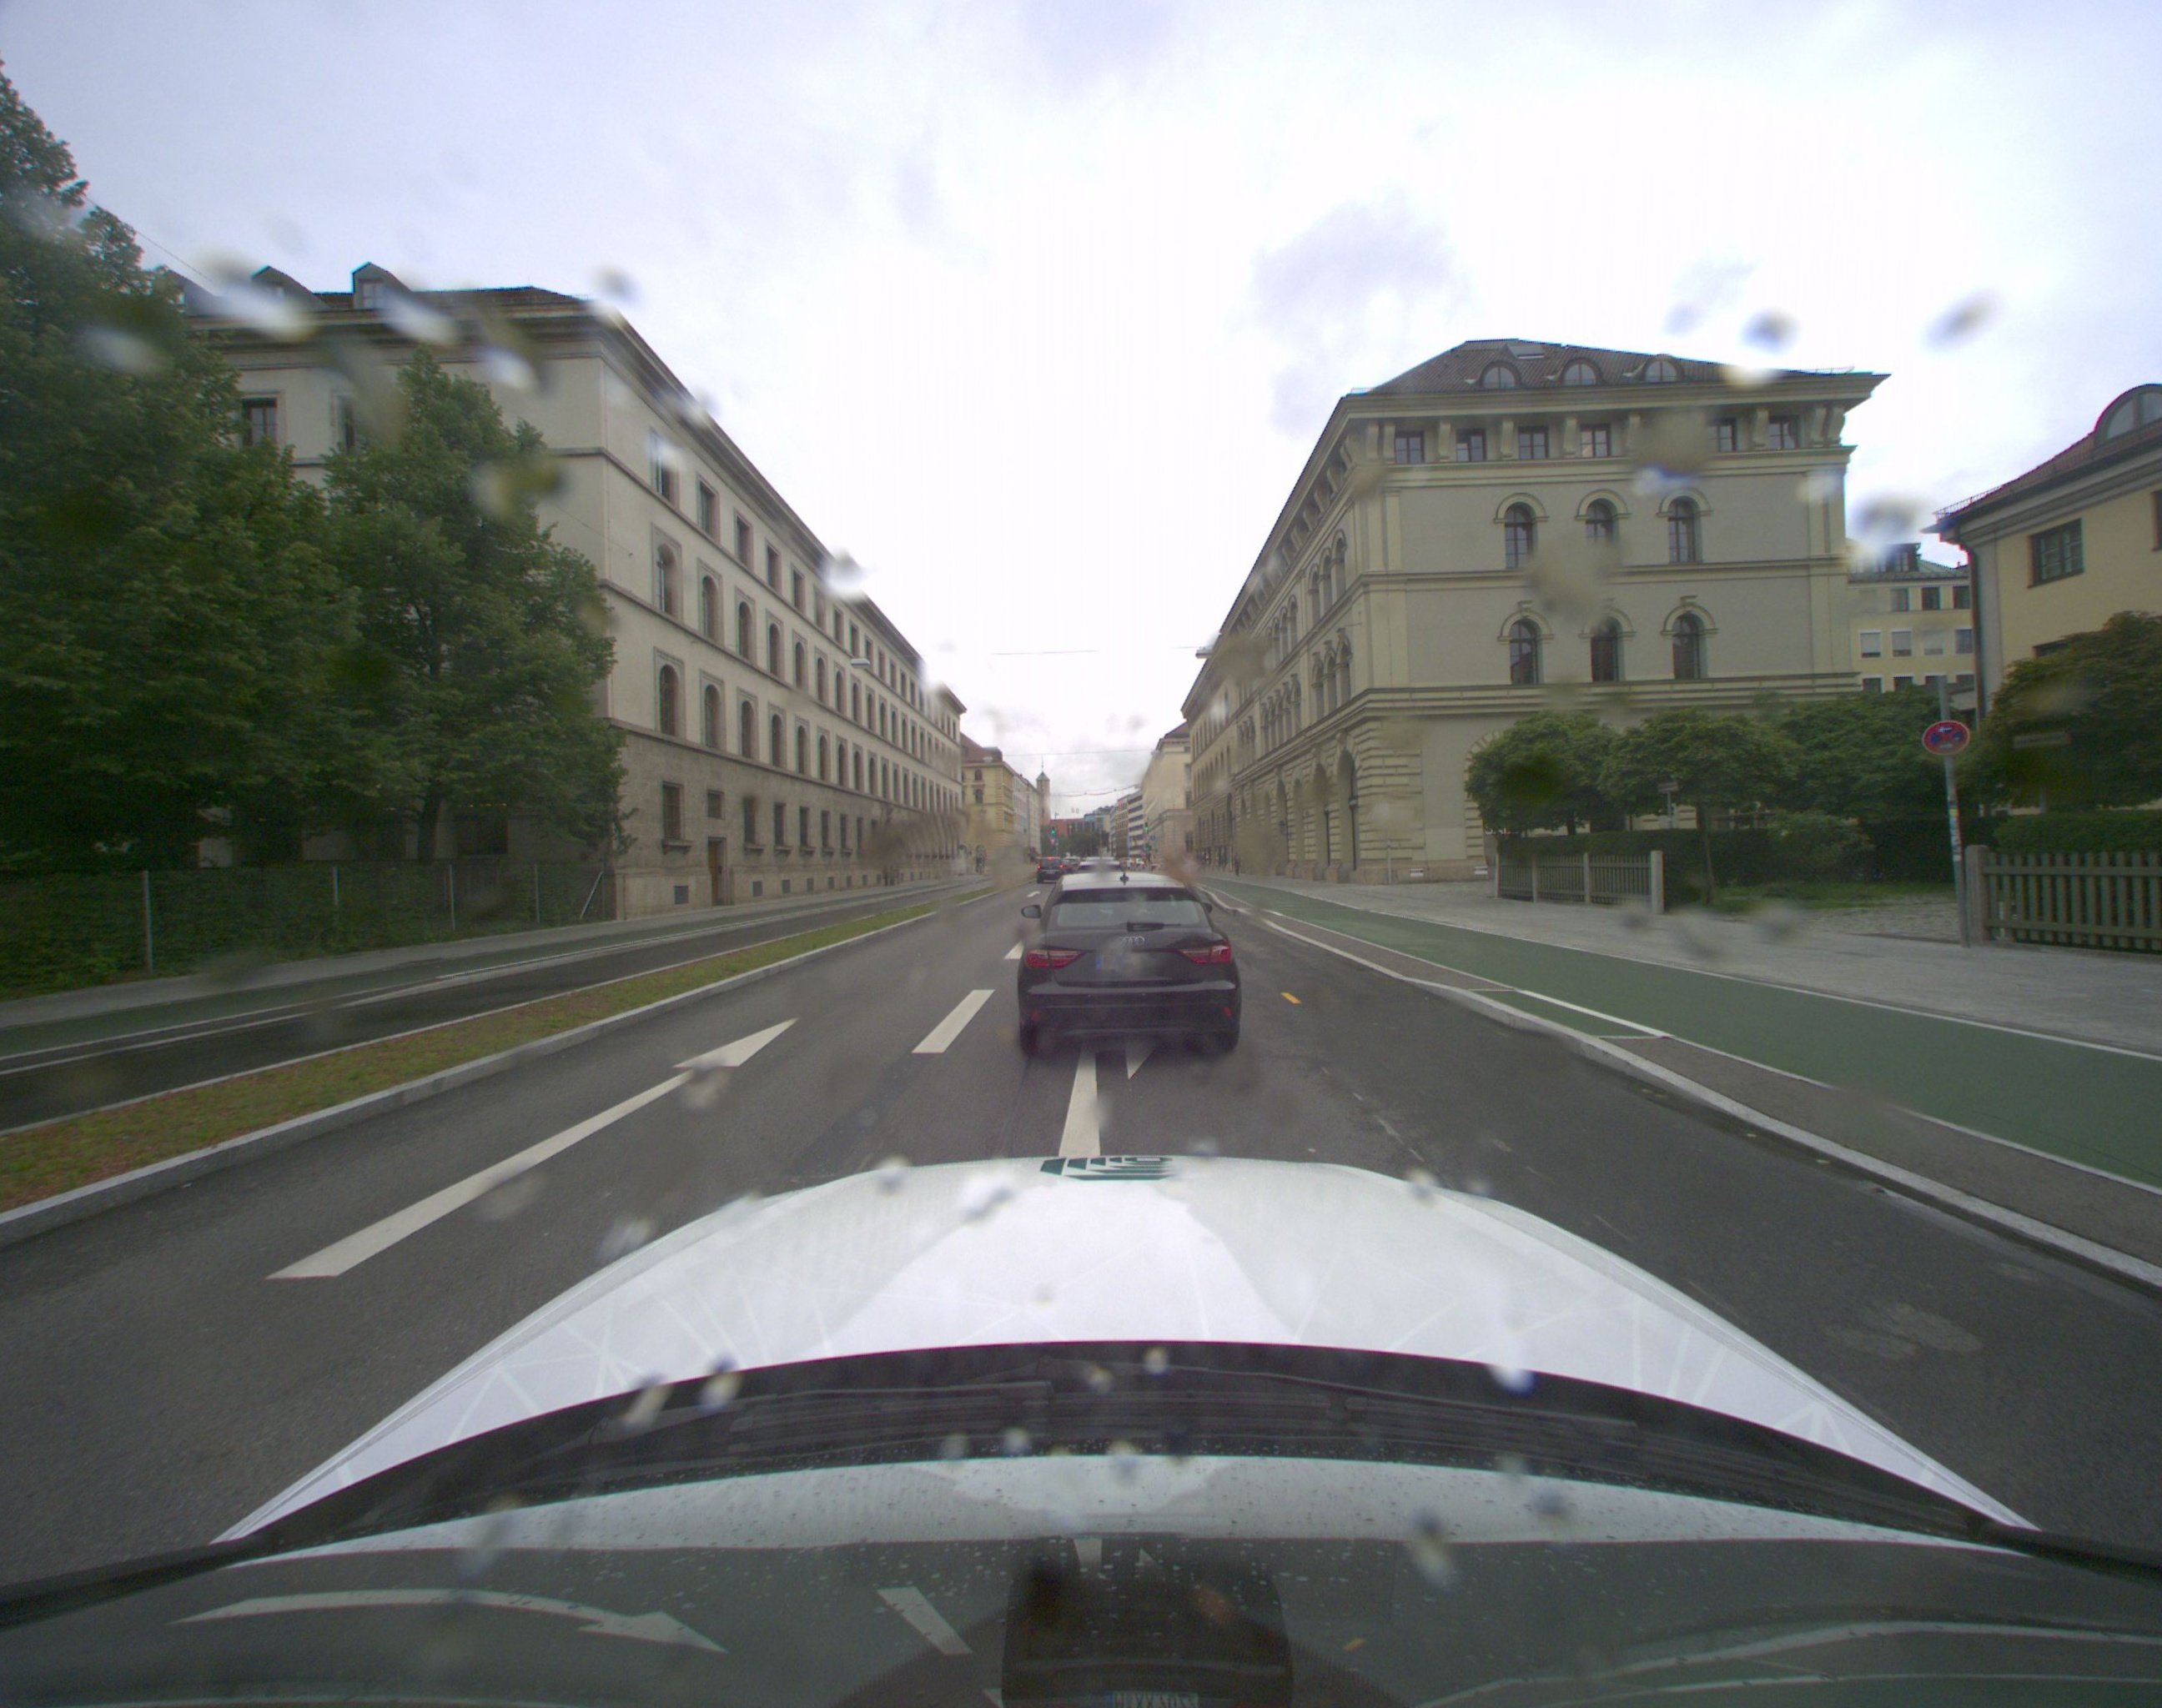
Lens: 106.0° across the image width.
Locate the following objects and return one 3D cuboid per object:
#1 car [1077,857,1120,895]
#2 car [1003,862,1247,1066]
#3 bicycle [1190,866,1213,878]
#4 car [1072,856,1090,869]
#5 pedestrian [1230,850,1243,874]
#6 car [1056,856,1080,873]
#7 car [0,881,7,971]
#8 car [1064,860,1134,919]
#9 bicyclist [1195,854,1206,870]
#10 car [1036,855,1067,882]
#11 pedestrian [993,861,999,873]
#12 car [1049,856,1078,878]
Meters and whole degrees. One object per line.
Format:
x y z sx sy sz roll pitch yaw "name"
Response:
0.745 0.879 34.183 1.724 1.461 4.001 0 0 1 "car"
0.365 0.801 7.780 1.724 1.403 4.001 0 0 1 "car"
11.617 1.716 78.508 0.735 1.156 2.145 -1 -1 -45 "bicycle"
0.022 1.030 100.367 1.986 1.444 4.002 -2 0 2 "car"
10.842 0.567 56.751 0.707 1.618 0.754 -2 -1 1 "pedestrian"
-1.170 0.975 75.561 1.986 1.444 4.002 -2 0 2 "car"
-21.896 1.397 14.077 4.247 1.649 1.805 -2 0 1 "car"
0.502 0.896 22.159 1.724 1.403 4.001 0 0 1 "car"
11.500 0.793 78.611 0.716 1.500 0.745 -1 -1 -45 "bicyclist"
-1.832 0.872 51.686 1.758 1.616 4.031 -1 0 1 "car"
-12.918 2.007 123.861 0.653 1.805 0.727 -2 -1 1 "pedestrian"
-1.351 1.008 64.664 1.986 1.627 4.002 -2 0 2 "car"
